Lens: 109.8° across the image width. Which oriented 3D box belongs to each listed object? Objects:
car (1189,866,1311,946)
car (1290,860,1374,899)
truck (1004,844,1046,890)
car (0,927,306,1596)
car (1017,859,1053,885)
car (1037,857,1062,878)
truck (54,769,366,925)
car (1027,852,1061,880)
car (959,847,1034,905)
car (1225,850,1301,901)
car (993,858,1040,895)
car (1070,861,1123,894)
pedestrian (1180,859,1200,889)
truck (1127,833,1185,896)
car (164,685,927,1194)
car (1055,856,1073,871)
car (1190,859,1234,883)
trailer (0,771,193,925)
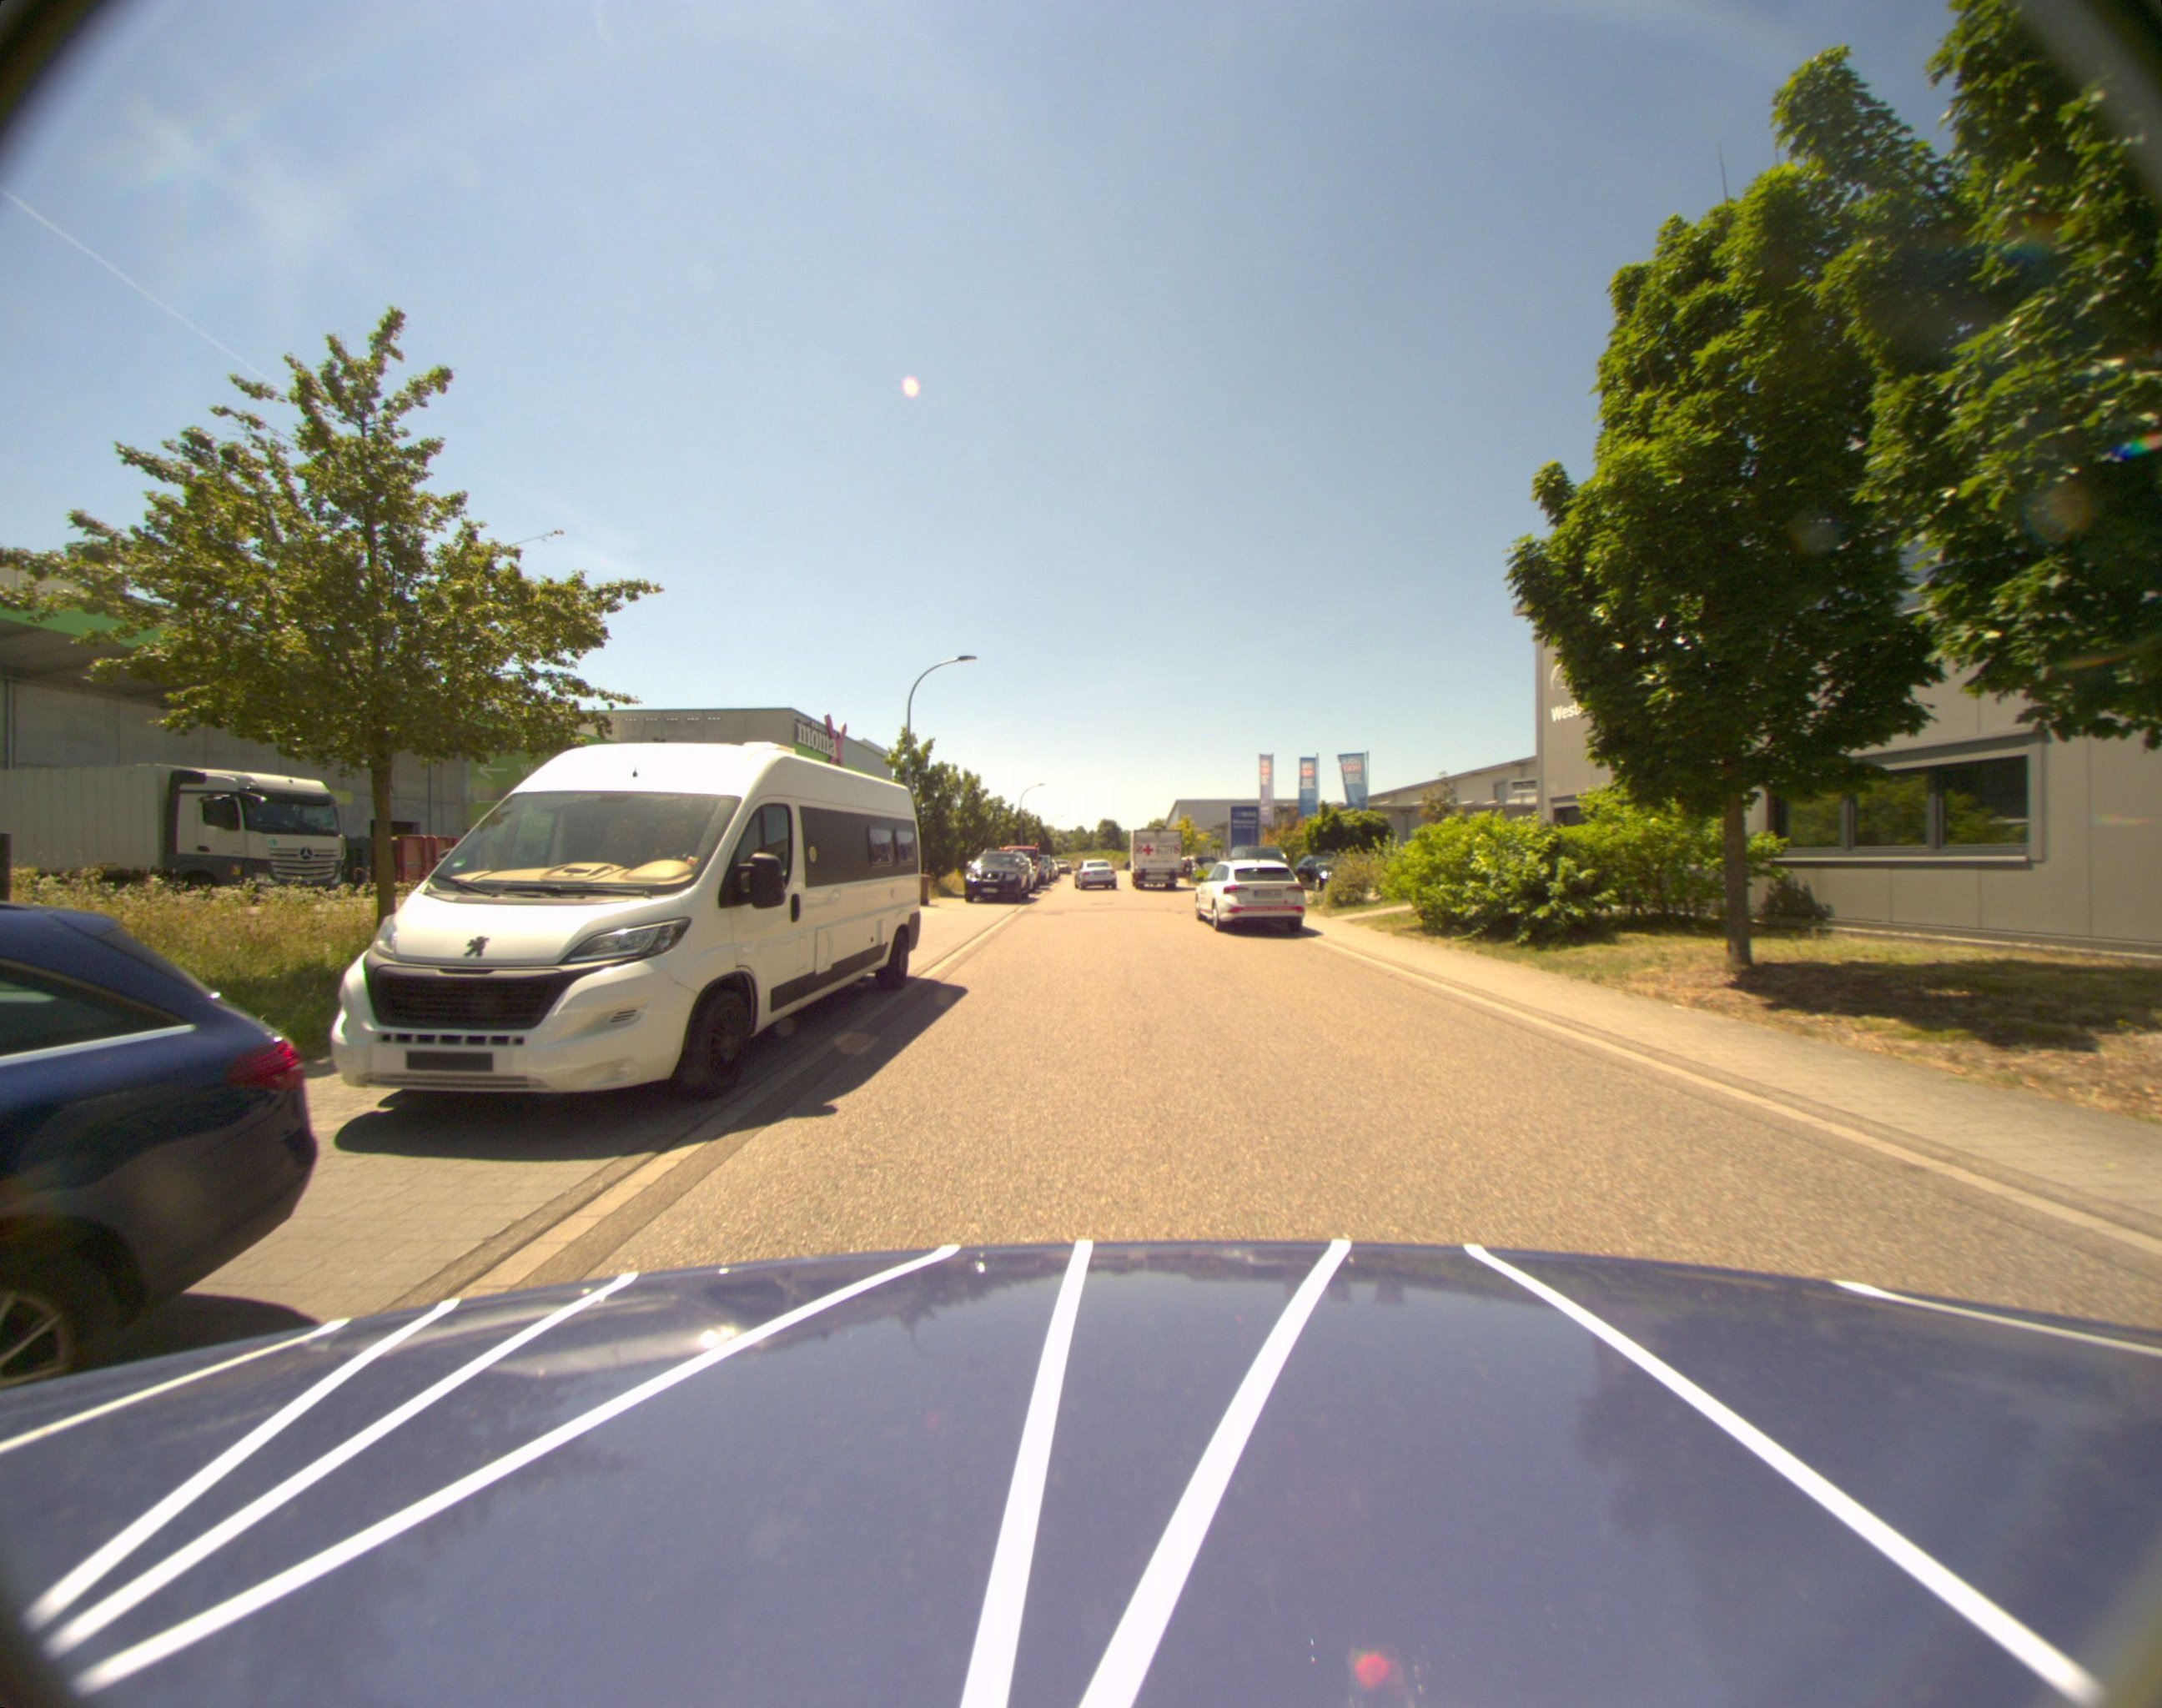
[{"bbox_3d":[3.553,1.030,16.774,1.734,1.450,4.491,-1,0,1],"label":"car"},{"bbox_3d":[10.264,0.988,31.512,1.936,1.408,4.769,-2,0,1],"label":"car"},{"bbox_3d":[-2.790,0.610,38.710,1.683,2.168,4.390,1,0,1],"label":"truck"},{"bbox_3d":[-3.494,0.957,0.219,1.833,1.485,4.479,0,0,3],"label":"car"},{"bbox_3d":[-2.627,1.000,44.322,1.702,1.375,4.837,1,0,1],"label":"car"},{"bbox_3d":[-2.262,0.971,55.649,1.718,1.474,4.773,1,-1,-2],"label":"car"},{"bbox_3d":[-23.076,-0.184,20.377,5.075,3.853,2.804,0,1,1],"label":"truck"},{"bbox_3d":[-2.397,0.776,49.860,1.815,1.715,4.774,1,-1,2],"label":"car"},{"bbox_3d":[-2.930,0.735,27.419,1.998,1.873,5.156,1,0,1],"label":"car"},{"bbox_3d":[7.616,0.831,32.294,1.998,1.945,5.218,-1,0,1],"label":"car"},{"bbox_3d":[-2.847,0.983,34.230,1.743,1.522,4.000,1,0,-1],"label":"car"},{"bbox_3d":[0.694,1.122,37.598,1.789,1.413,4.409,2,0,-9],"label":"car"},{"bbox_3d":[5.888,1.081,41.112,0.901,1.565,0.785,-2,0,2],"label":"pedestrian"},{"bbox_3d":[3.650,0.481,38.288,2.367,2.843,6.415,2,0,1],"label":"truck"},{"bbox_3d":[-3.293,0.423,6.824,2.273,2.482,6.153,0,0,3],"label":"car"},{"bbox_3d":[-1.868,1.081,84.459,1.809,1.626,4.458,1,-1,1],"label":"car"},{"bbox_3d":[8.814,1.132,51.225,2.748,1.509,1.535,-1,0,0],"label":"car"},{"bbox_3d":[-31.924,-0.105,20.552,12.649,3.853,2.804,-1,1,1],"label":"trailer"}]
